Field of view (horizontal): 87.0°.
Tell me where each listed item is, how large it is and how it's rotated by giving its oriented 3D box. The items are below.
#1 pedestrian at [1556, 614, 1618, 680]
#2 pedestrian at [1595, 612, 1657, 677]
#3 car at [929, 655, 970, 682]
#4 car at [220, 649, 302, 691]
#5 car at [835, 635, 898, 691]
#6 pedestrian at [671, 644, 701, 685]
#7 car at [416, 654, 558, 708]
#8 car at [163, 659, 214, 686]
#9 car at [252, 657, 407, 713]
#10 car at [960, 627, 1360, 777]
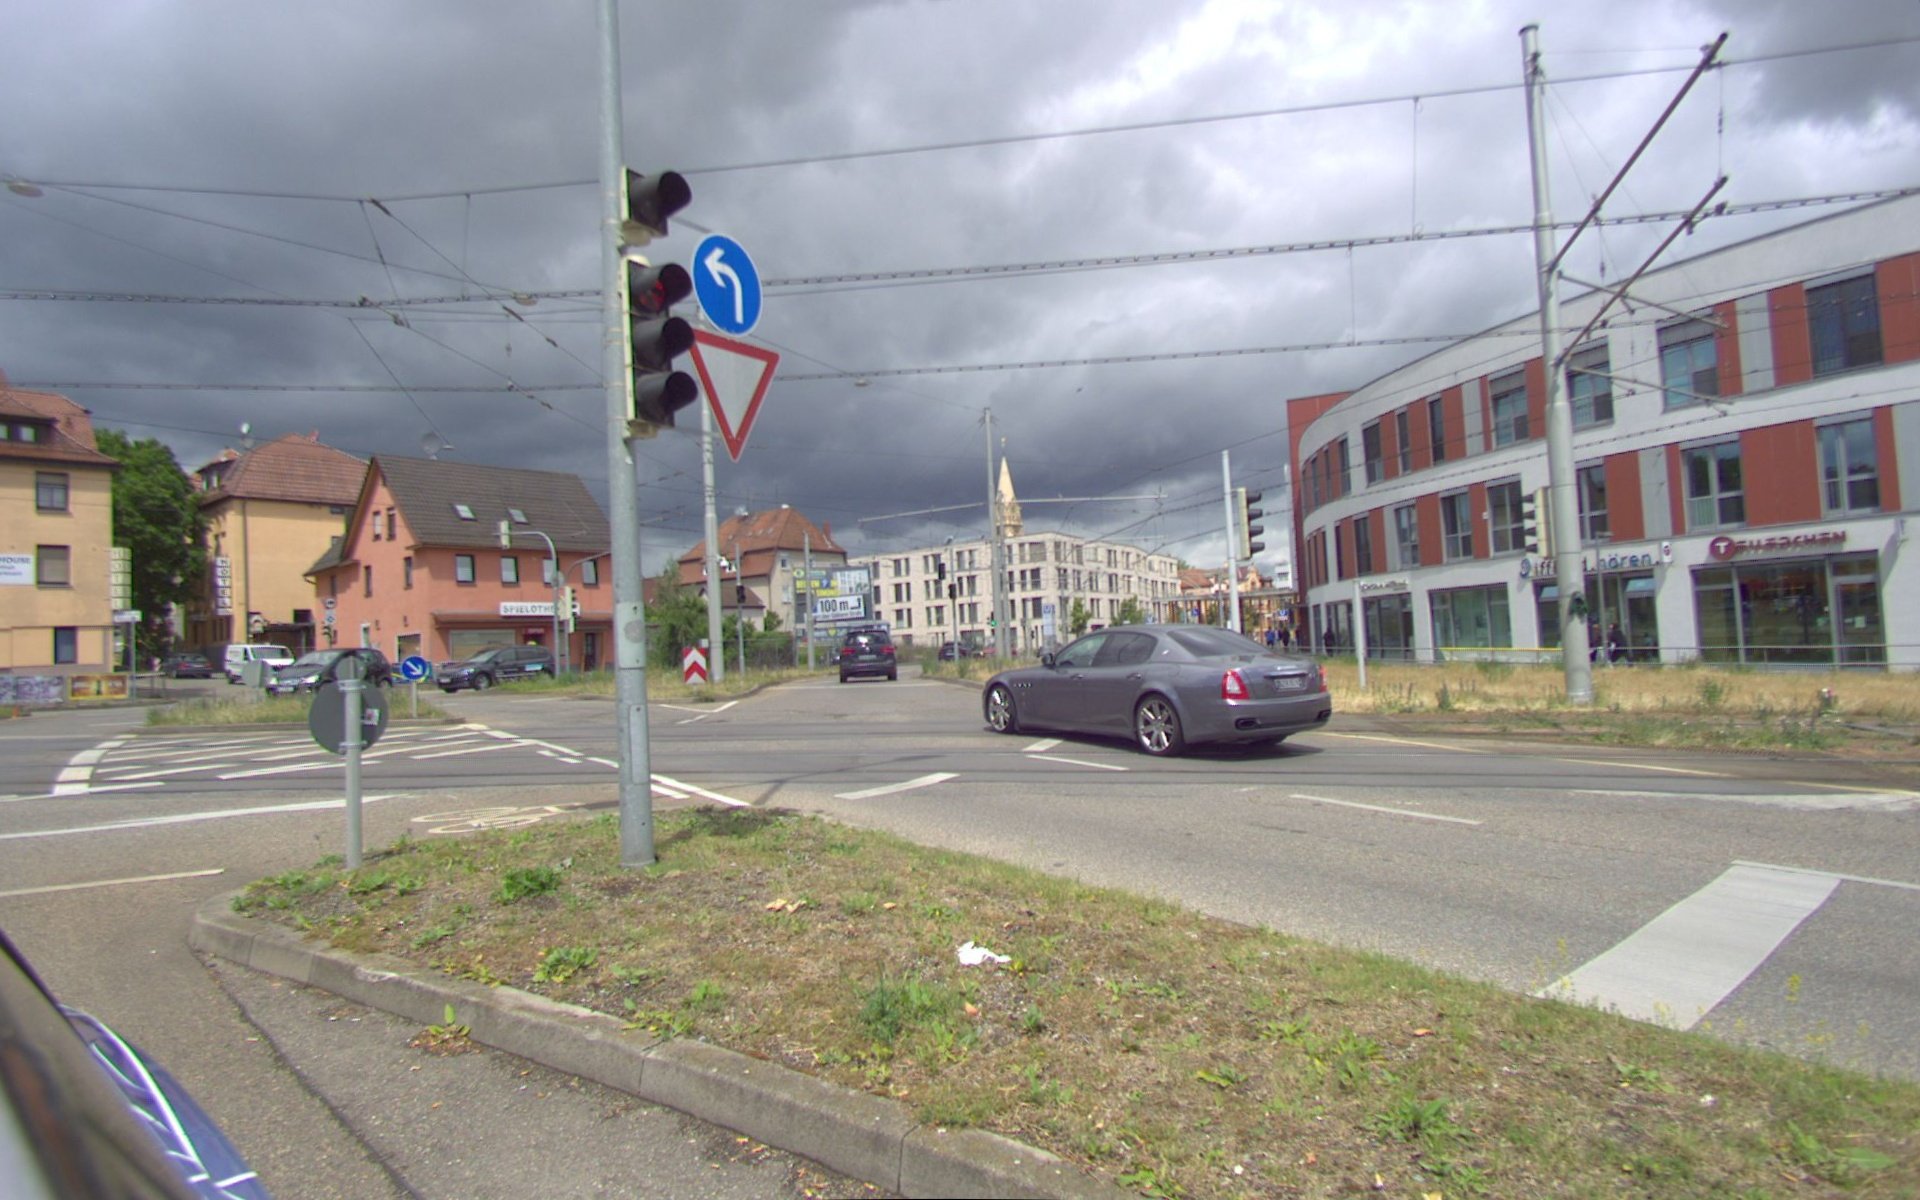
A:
[{"bbox_3d":[20.028,1.500,32.325,1.236,2.029,1.143,0,-3,-29],"label":"pedestrian"},{"bbox_3d":[21.479,1.436,32.662,1.236,2.029,1.143,0,-3,-29],"label":"pedestrian"},{"bbox_3d":[-0.697,4.245,62.998,1.923,1.581,4.496,1,-3,-9],"label":"car"},{"bbox_3d":[-34.793,3.494,50.362,4.656,1.912,2.055,-4,-2,38],"label":"car"},{"bbox_3d":[-2.887,1.913,31.714,1.784,1.592,4.300,-1,-2,-4],"label":"car"},{"bbox_3d":[-14.652,3.446,54.103,1.052,2.164,1.113,-4,-4,42],"label":"pedestrian"},{"bbox_3d":[-17.073,2.919,36.774,1.990,1.662,4.380,-5,-4,26],"label":"car"},{"bbox_3d":[-43.582,4.096,57.143,3.128,1.381,1.542,-6,-4,38],"label":"car"},{"bbox_3d":[-18.726,2.479,30.284,1.860,1.439,3.992,-4,-3,6],"label":"car"},{"bbox_3d":[2.106,1.068,12.356,1.773,1.421,5.066,0,-2,-32],"label":"car"}]
